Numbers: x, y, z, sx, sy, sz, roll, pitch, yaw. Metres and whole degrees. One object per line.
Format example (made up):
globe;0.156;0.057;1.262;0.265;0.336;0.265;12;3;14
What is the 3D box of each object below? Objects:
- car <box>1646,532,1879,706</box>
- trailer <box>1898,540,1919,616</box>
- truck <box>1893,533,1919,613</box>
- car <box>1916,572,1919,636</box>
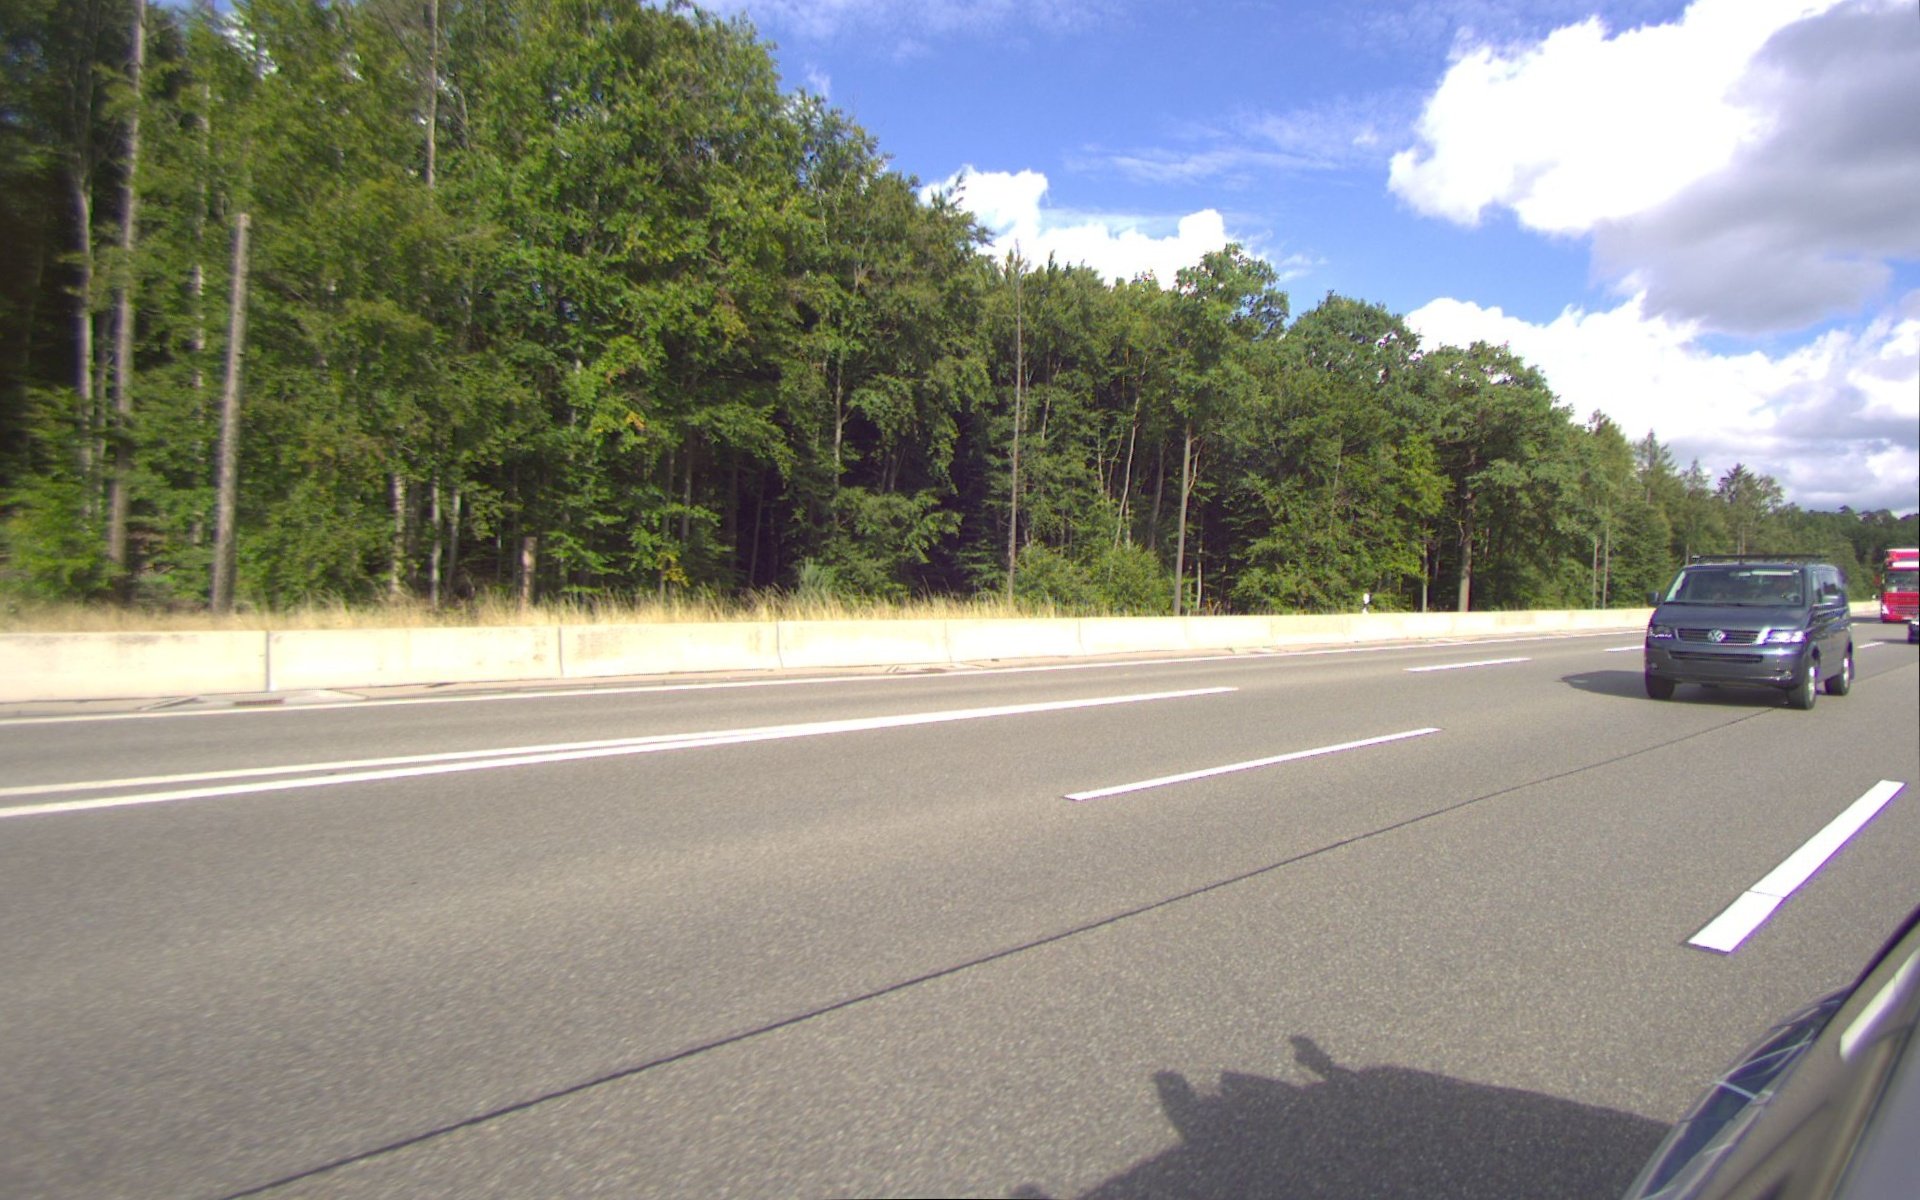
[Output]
car;12.054;0.188;15.078;4.876;2.192;1.925;-1;2;-42
trailer;58.370;-1.362;60.084;14.130;4.170;2.529;-2;2;-41
truck;53.306;-1.488;55.613;4.573;4.254;2.530;-2;2;-41
car;32.708;0.143;32.828;3.929;2.038;1.998;0;2;-40
